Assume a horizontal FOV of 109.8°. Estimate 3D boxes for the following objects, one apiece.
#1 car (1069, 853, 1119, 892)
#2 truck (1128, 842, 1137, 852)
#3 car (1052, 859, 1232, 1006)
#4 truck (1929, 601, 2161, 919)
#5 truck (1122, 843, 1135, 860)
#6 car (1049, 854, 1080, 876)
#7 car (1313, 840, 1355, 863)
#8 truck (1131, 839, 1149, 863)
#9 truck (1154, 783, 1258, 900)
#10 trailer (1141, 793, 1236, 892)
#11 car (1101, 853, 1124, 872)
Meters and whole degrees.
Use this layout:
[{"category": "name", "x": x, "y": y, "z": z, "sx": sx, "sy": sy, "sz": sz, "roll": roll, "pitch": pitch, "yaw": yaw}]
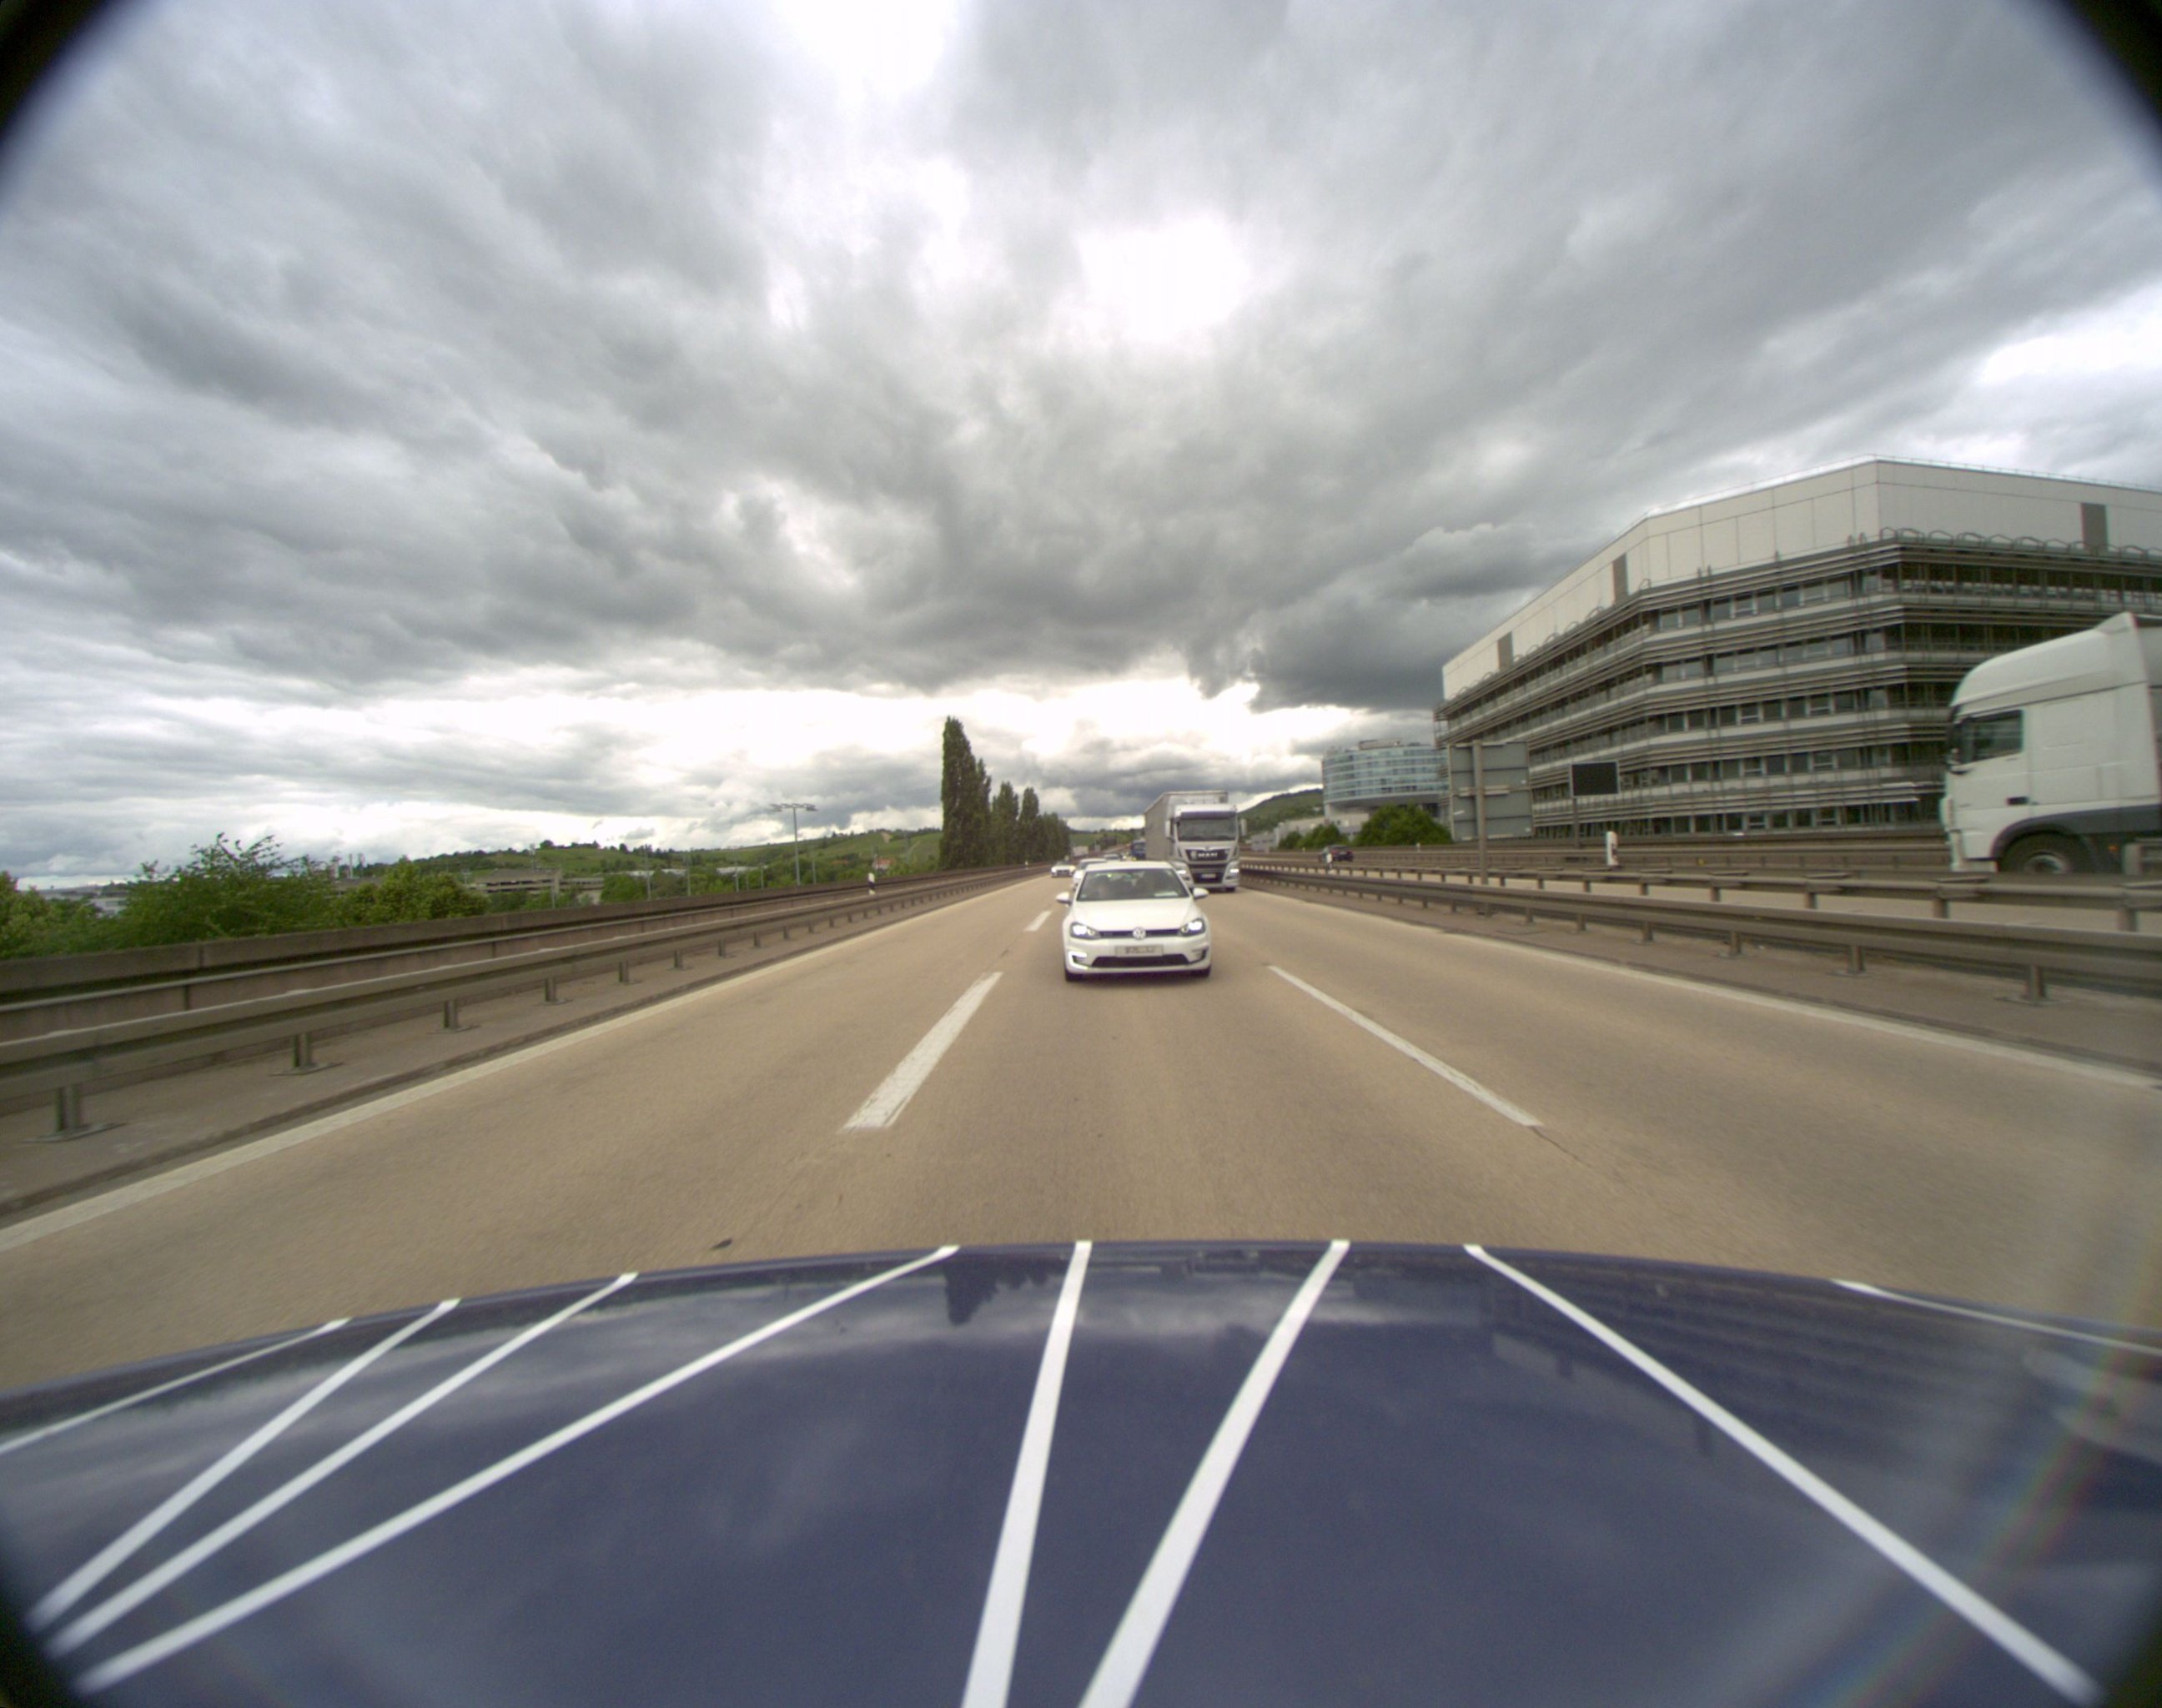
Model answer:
[{"category": "car", "x": 0.634, "y": 0.807, "z": 34.393, "sx": 1.930, "sy": 1.499, "sz": 4.062, "roll": -3, "pitch": 1, "yaw": 5}, {"category": "truck", "x": 17.146, "y": -2.430, "z": 253.314, "sx": 2.625, "sy": 3.219, "sz": 6.688, "roll": -2, "pitch": 1, "yaw": 5}, {"category": "car", "x": 0.832, "y": 0.895, "z": 10.442, "sx": 1.930, "sy": 1.499, "sz": 4.062, "roll": -2, "pitch": 1, "yaw": 5}, {"category": "truck", "x": 15.214, "y": -1.244, "z": 9.505, "sx": 2.779, "sy": 4.055, "sz": 5.645, "roll": -2, "pitch": 0, "yaw": -1}, {"category": "truck", "x": 9.796, "y": -0.529, "z": 156.560, "sx": 2.336, "sy": 3.219, "sz": 6.688, "roll": -2, "pitch": 1, "yaw": 5}, {"category": "car", "x": -1.251, "y": 0.843, "z": 60.082, "sx": 1.930, "sy": 1.499, "sz": 4.062, "roll": -3, "pitch": 1, "yaw": 5}, {"category": "car", "x": 19.959, "y": -0.226, "z": 60.072, "sx": 1.687, "sy": 1.641, "sz": 4.359, "roll": -4, "pitch": 1, "yaw": -1}, {"category": "truck", "x": 8.526, "y": -0.487, "z": 109.788, "sx": 2.336, "sy": 3.219, "sz": 6.688, "roll": -2, "pitch": 1, "yaw": 5}, {"category": "truck", "x": 4.795, "y": -0.472, "z": 30.284, "sx": 3.142, "sy": 4.014, "sz": 5.688, "roll": -4, "pitch": 1, "yaw": 2}, {"category": "trailer", "x": 5.036, "y": -0.518, "z": 38.182, "sx": 3.189, "sy": 4.003, "sz": 11.765, "roll": -4, "pitch": 0, "yaw": 2}, {"category": "car", "x": 2.997, "y": 0.778, "z": 71.936, "sx": 1.930, "sy": 1.585, "sz": 4.062, "roll": -3, "pitch": 1, "yaw": 5}]
